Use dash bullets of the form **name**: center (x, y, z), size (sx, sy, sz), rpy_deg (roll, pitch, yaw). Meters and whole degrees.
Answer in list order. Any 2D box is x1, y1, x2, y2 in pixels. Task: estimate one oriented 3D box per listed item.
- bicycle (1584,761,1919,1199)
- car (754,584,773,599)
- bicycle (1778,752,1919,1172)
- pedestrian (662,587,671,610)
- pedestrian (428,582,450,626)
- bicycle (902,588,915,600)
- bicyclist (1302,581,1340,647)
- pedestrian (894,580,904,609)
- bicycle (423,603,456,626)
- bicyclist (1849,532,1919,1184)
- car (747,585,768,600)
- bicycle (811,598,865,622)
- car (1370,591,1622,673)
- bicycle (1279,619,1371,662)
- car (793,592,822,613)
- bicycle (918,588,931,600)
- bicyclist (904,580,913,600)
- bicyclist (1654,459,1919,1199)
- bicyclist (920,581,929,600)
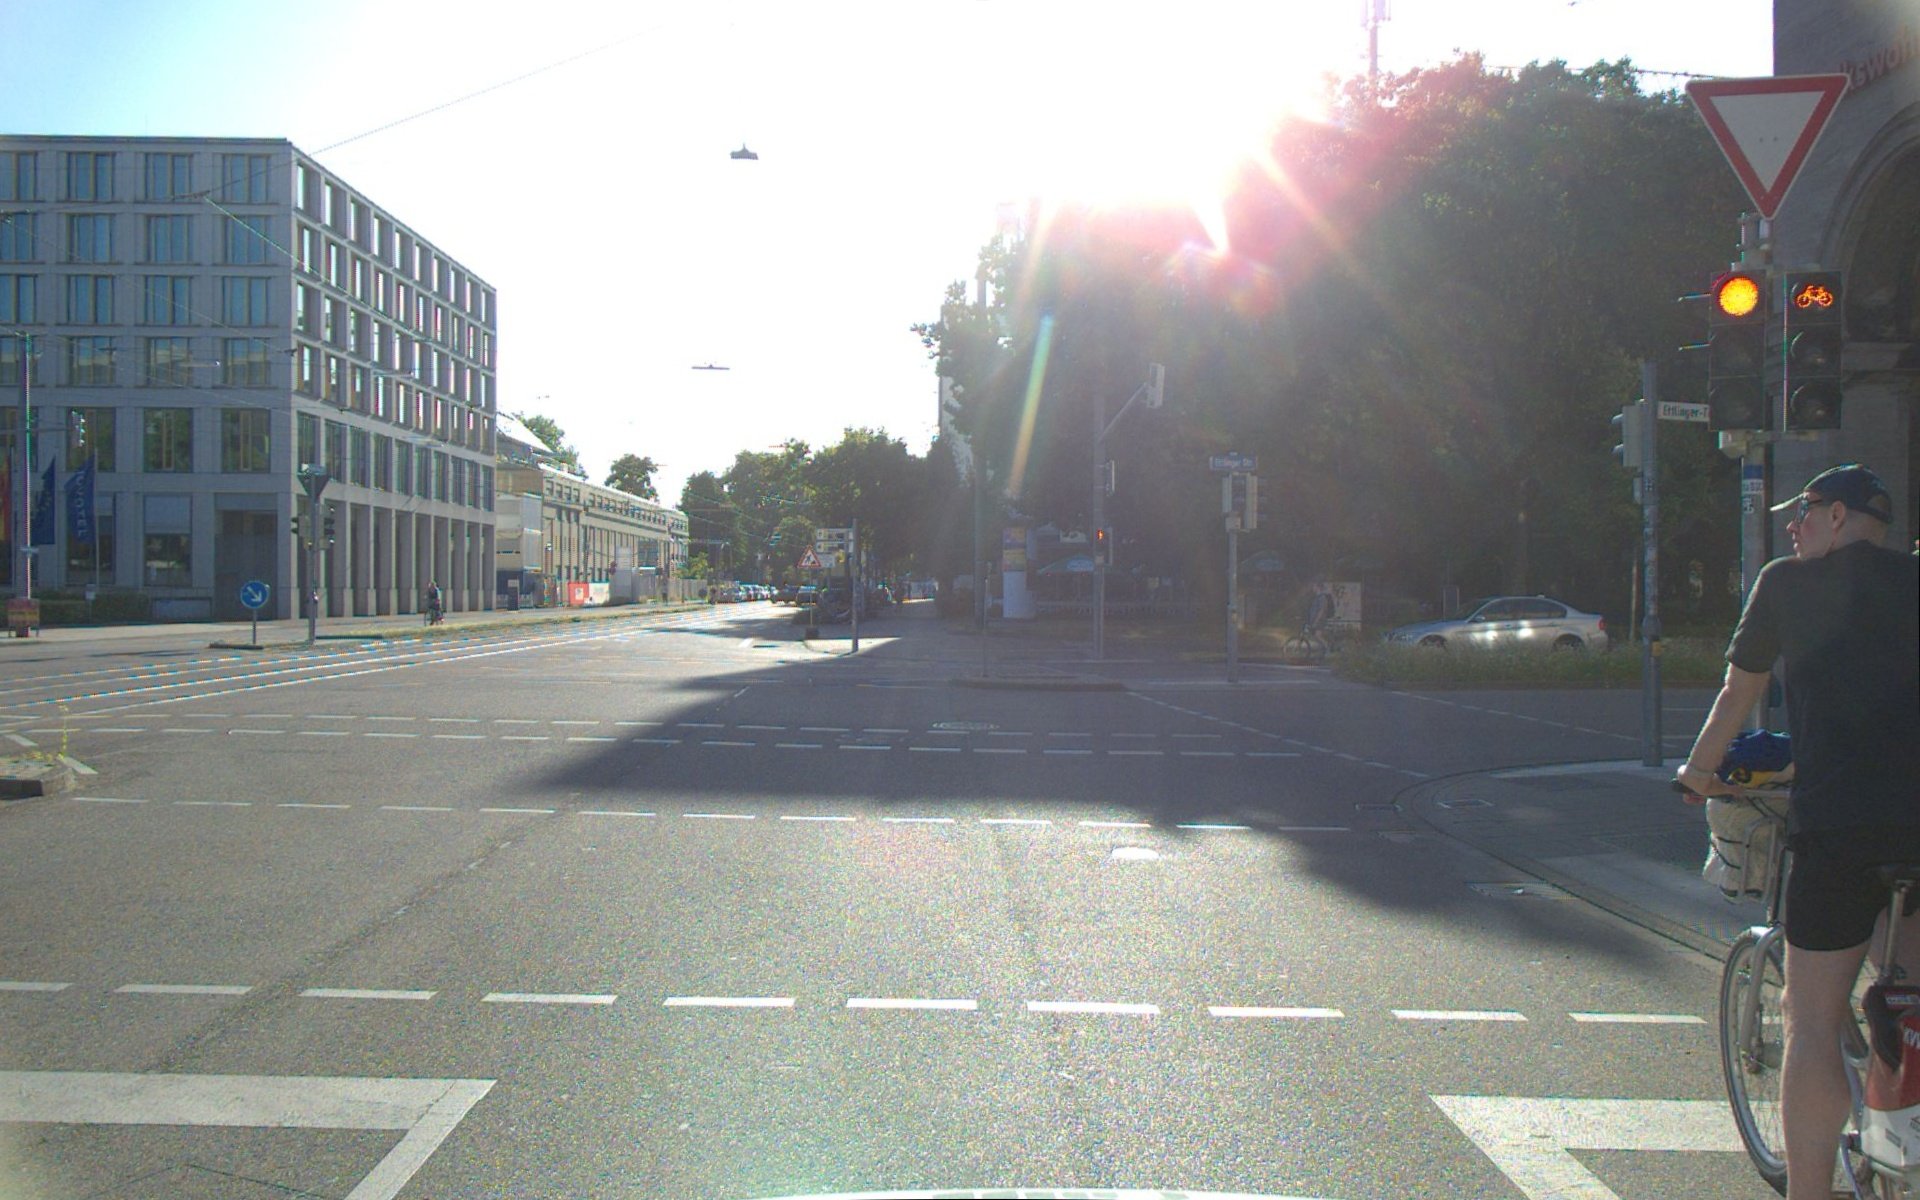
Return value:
- **bicycle**: center (2.142, 1.004, 3.920), size (0.610, 1.062, 1.746), rpy_deg (0, 0, -2)
- **car**: center (-23.063, -1.004, 194.361), size (1.954, 1.673, 3.997), rpy_deg (0, 0, -4)
- **bicycle**: center (2.889, 1.020, 4.396), size (0.570, 1.062, 1.747), rpy_deg (0, 0, 0)
- **pedestrian**: center (-24.769, -0.134, 139.562), size (0.576, 1.922, 0.478), rpy_deg (1, -1, -1)
- **pedestrian**: center (-19.308, 0.143, 61.293), size (0.559, 1.623, 0.745), rpy_deg (0, 0, 5)
- **bicycle**: center (-5.513, -0.678, 176.480), size (0.875, 1.240, 2.785), rpy_deg (1, 0, -12)
- **bicyclist**: center (7.960, 0.306, 36.499), size (0.731, 1.431, 0.702), rpy_deg (1, -1, 6)
- **pedestrian**: center (-3.593, -0.304, 97.621), size (0.566, 1.719, 0.584), rpy_deg (0, 0, -8)
- **bicycle**: center (-19.301, 0.540, 61.375), size (0.559, 0.837, 1.719), rpy_deg (0, 0, 5)
- **bicyclist**: center (2.888, 0.699, 4.360), size (0.572, 1.769, 0.950), rpy_deg (0, 0, 0)
- **car**: center (-21.789, -0.819, 177.949), size (1.954, 1.633, 3.997), rpy_deg (0, 0, -4)
- **bicycle**: center (-4.957, 0.417, 67.136), size (2.201, 0.956, 0.653), rpy_deg (0, 0, -6)
- **car**: center (10.854, 0.631, 33.732), size (4.483, 1.543, 2.000), rpy_deg (1, 0, -1)
- **bicycle**: center (8.039, 0.881, 36.492), size (1.902, 0.905, 0.718), rpy_deg (1, 0, 5)
- **car**: center (-12.367, 0.187, 134.392), size (1.953, 1.668, 3.999), rpy_deg (1, 0, -1)
- **bicycle**: center (-3.816, -0.646, 177.241), size (0.875, 1.240, 2.785), rpy_deg (1, 0, -12)
- **bicyclist**: center (-5.494, -1.082, 176.459), size (0.875, 2.049, 0.746), rpy_deg (1, -1, -12)
- **bicyclist**: center (2.146, 0.577, 3.908), size (0.610, 1.745, 0.912), rpy_deg (0, 0, -1)
- **bicyclist**: center (-3.824, -1.050, 177.382), size (0.875, 2.049, 0.746), rpy_deg (1, -1, -12)
